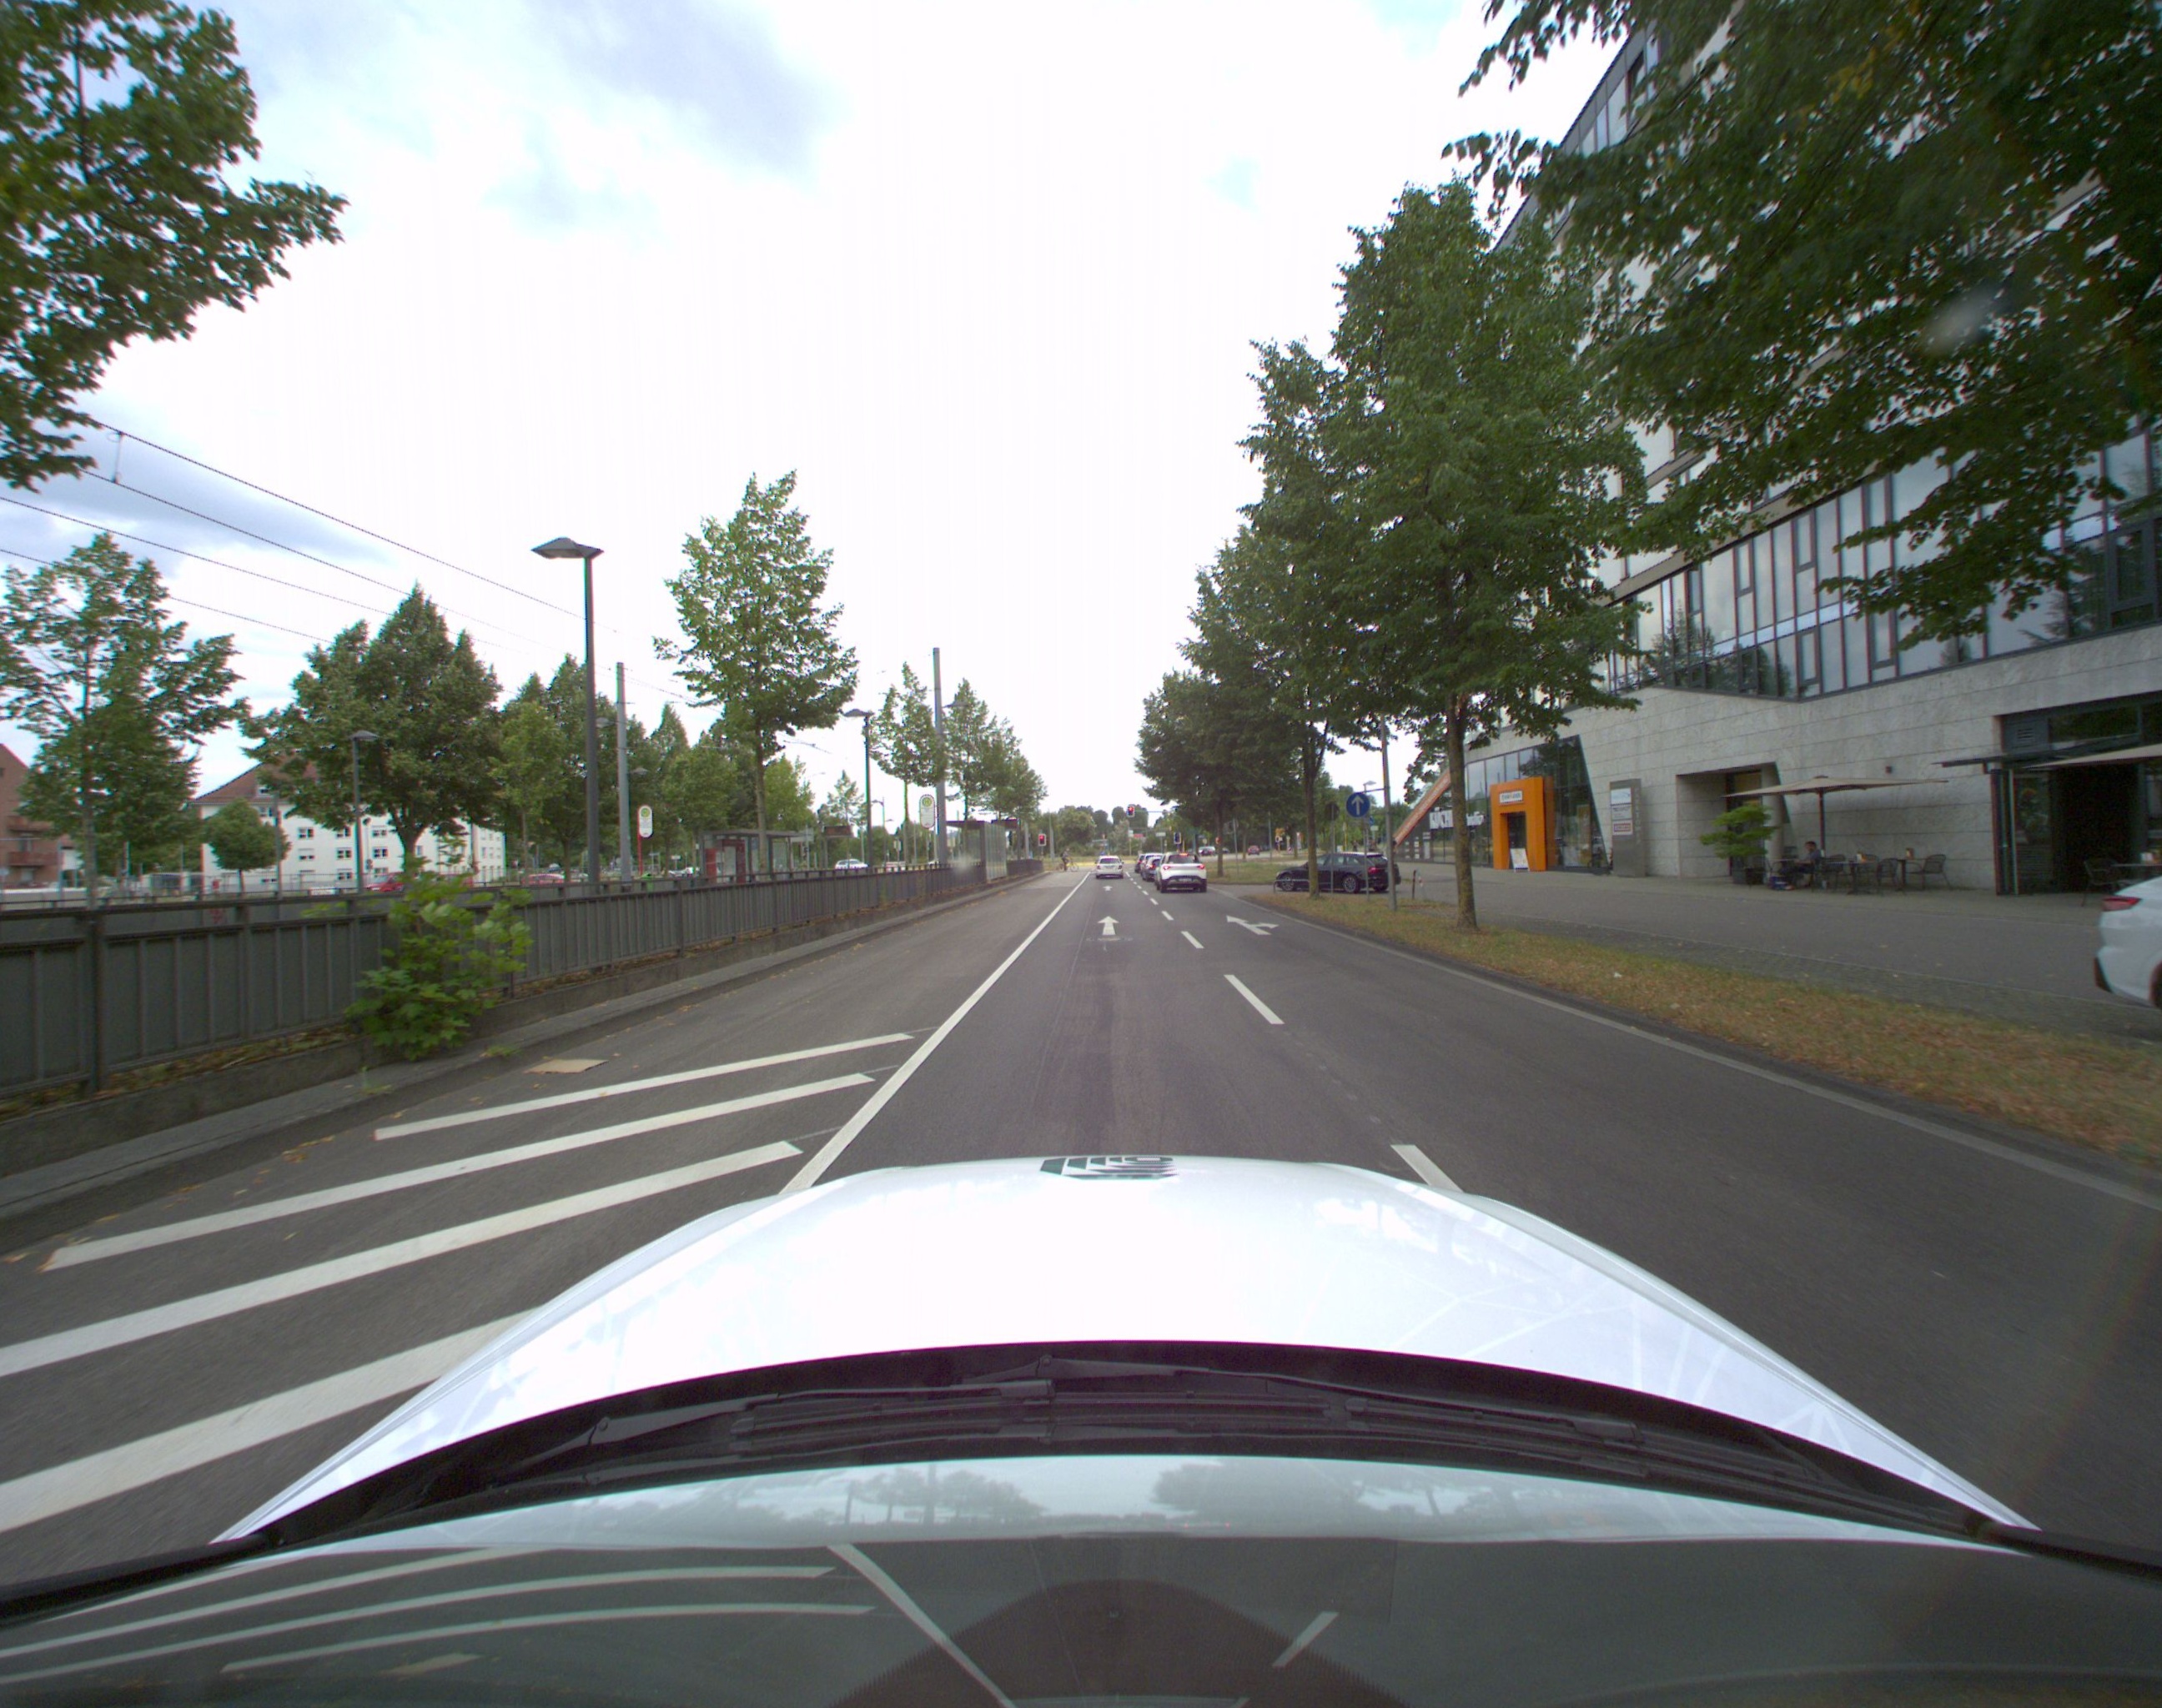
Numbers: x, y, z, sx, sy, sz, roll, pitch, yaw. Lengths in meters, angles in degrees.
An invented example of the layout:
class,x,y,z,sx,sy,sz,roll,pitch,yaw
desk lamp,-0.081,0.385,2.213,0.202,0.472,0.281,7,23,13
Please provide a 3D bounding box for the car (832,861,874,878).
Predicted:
class,x,y,z,sx,sy,sz,roll,pitch,yaw
car,-23.590,1.606,84.203,4.328,1.618,2.013,-2,0,38

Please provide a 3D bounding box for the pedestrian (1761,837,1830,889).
class,x,y,z,sx,sy,sz,roll,pitch,yaw
pedestrian,17.895,0.219,20.420,0.893,1.228,0.952,-2,0,6

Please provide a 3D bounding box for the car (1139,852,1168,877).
class,x,y,z,sx,sy,sz,roll,pitch,yaw
car,4.977,0.710,56.293,1.780,1.624,3.912,-2,0,2

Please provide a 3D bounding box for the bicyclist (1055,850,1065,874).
class,x,y,z,sx,sy,sz,roll,pitch,yaw
bicyclist,-1.736,0.637,67.396,0.726,1.884,0.734,-2,7,-1

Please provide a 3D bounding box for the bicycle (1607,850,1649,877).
class,x,y,z,sx,sy,sz,roll,pitch,yaw
bicycle,19.806,0.336,29.513,0.516,0.910,1.494,-2,0,2

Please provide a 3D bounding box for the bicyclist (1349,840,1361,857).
class,x,y,z,sx,sy,sz,roll,pitch,yaw
bicyclist,30.416,-0.619,90.363,0.863,1.789,1.175,-2,0,1

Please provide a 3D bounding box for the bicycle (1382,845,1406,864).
class,x,y,z,sx,sy,sz,roll,pitch,yaw
bicycle,18.485,0.039,48.142,0.671,1.042,2.008,-2,0,2

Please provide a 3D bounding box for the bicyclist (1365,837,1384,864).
class,x,y,z,sx,sy,sz,roll,pitch,yaw
bicyclist,17.204,-0.196,47.717,0.722,1.582,0.990,-2,0,1

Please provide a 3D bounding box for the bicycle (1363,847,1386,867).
class,x,y,z,sx,sy,sz,roll,pitch,yaw
bicycle,17.213,0.154,47.795,0.671,1.143,2.008,-2,0,2

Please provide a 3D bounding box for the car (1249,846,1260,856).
class,x,y,z,sx,sy,sz,roll,pitch,yaw
car,27.995,-0.496,131.394,1.771,1.636,4.416,-2,0,12

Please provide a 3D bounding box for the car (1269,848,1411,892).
class,x,y,z,sx,sy,sz,roll,pitch,yaw
car,9.484,0.594,30.227,1.955,1.475,4.820,-2,0,-33

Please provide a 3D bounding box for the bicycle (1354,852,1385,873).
class,x,y,z,sx,sy,sz,roll,pitch,yaw
bicycle,13.927,0.400,39.339,0.628,0.956,2.106,-2,0,-3

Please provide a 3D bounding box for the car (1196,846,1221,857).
class,x,y,z,sx,sy,sz,roll,pitch,yaw
car,24.882,-0.529,158.678,5.029,2.013,1.975,-2,0,-44

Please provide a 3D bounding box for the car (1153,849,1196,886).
class,x,y,z,sx,sy,sz,roll,pitch,yaw
car,4.545,0.625,40.133,1.772,1.656,4.025,-2,0,2

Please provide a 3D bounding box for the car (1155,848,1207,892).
class,x,y,z,sx,sy,sz,roll,pitch,yaw
car,4.084,0.624,33.817,1.772,1.656,4.025,-2,0,2

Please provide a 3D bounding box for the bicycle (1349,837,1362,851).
class,x,y,z,sx,sy,sz,roll,pitch,yaw
bicycle,30.405,-1.112,90.262,0.702,1.506,2.007,0,-1,0

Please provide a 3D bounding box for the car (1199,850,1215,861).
class,x,y,z,sx,sy,sz,roll,pitch,yaw
car,21.167,0.282,136.695,1.989,1.791,3.996,0,0,-2

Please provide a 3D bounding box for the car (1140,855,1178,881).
class,x,y,z,sx,sy,sz,roll,pitch,yaw
car,4.576,0.804,48.221,1.781,1.432,4.310,-2,0,0

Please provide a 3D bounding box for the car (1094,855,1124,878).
class,x,y,z,sx,sy,sz,roll,pitch,yaw
car,1.792,0.776,53.104,1.768,1.448,3.910,-1,0,0

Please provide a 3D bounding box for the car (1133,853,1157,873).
class,x,y,z,sx,sy,sz,roll,pitch,yaw
car,5.017,0.692,64.123,1.619,1.448,3.910,-1,0,0

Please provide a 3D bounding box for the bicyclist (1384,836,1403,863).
class,x,y,z,sx,sy,sz,roll,pitch,yaw
bicyclist,18.478,-0.252,48.170,0.722,1.582,0.990,-1,0,2

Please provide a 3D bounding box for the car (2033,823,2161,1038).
class,x,y,z,sx,sy,sz,roll,pitch,yaw
car,8.751,0.535,4.396,1.930,1.552,4.596,-2,0,2
